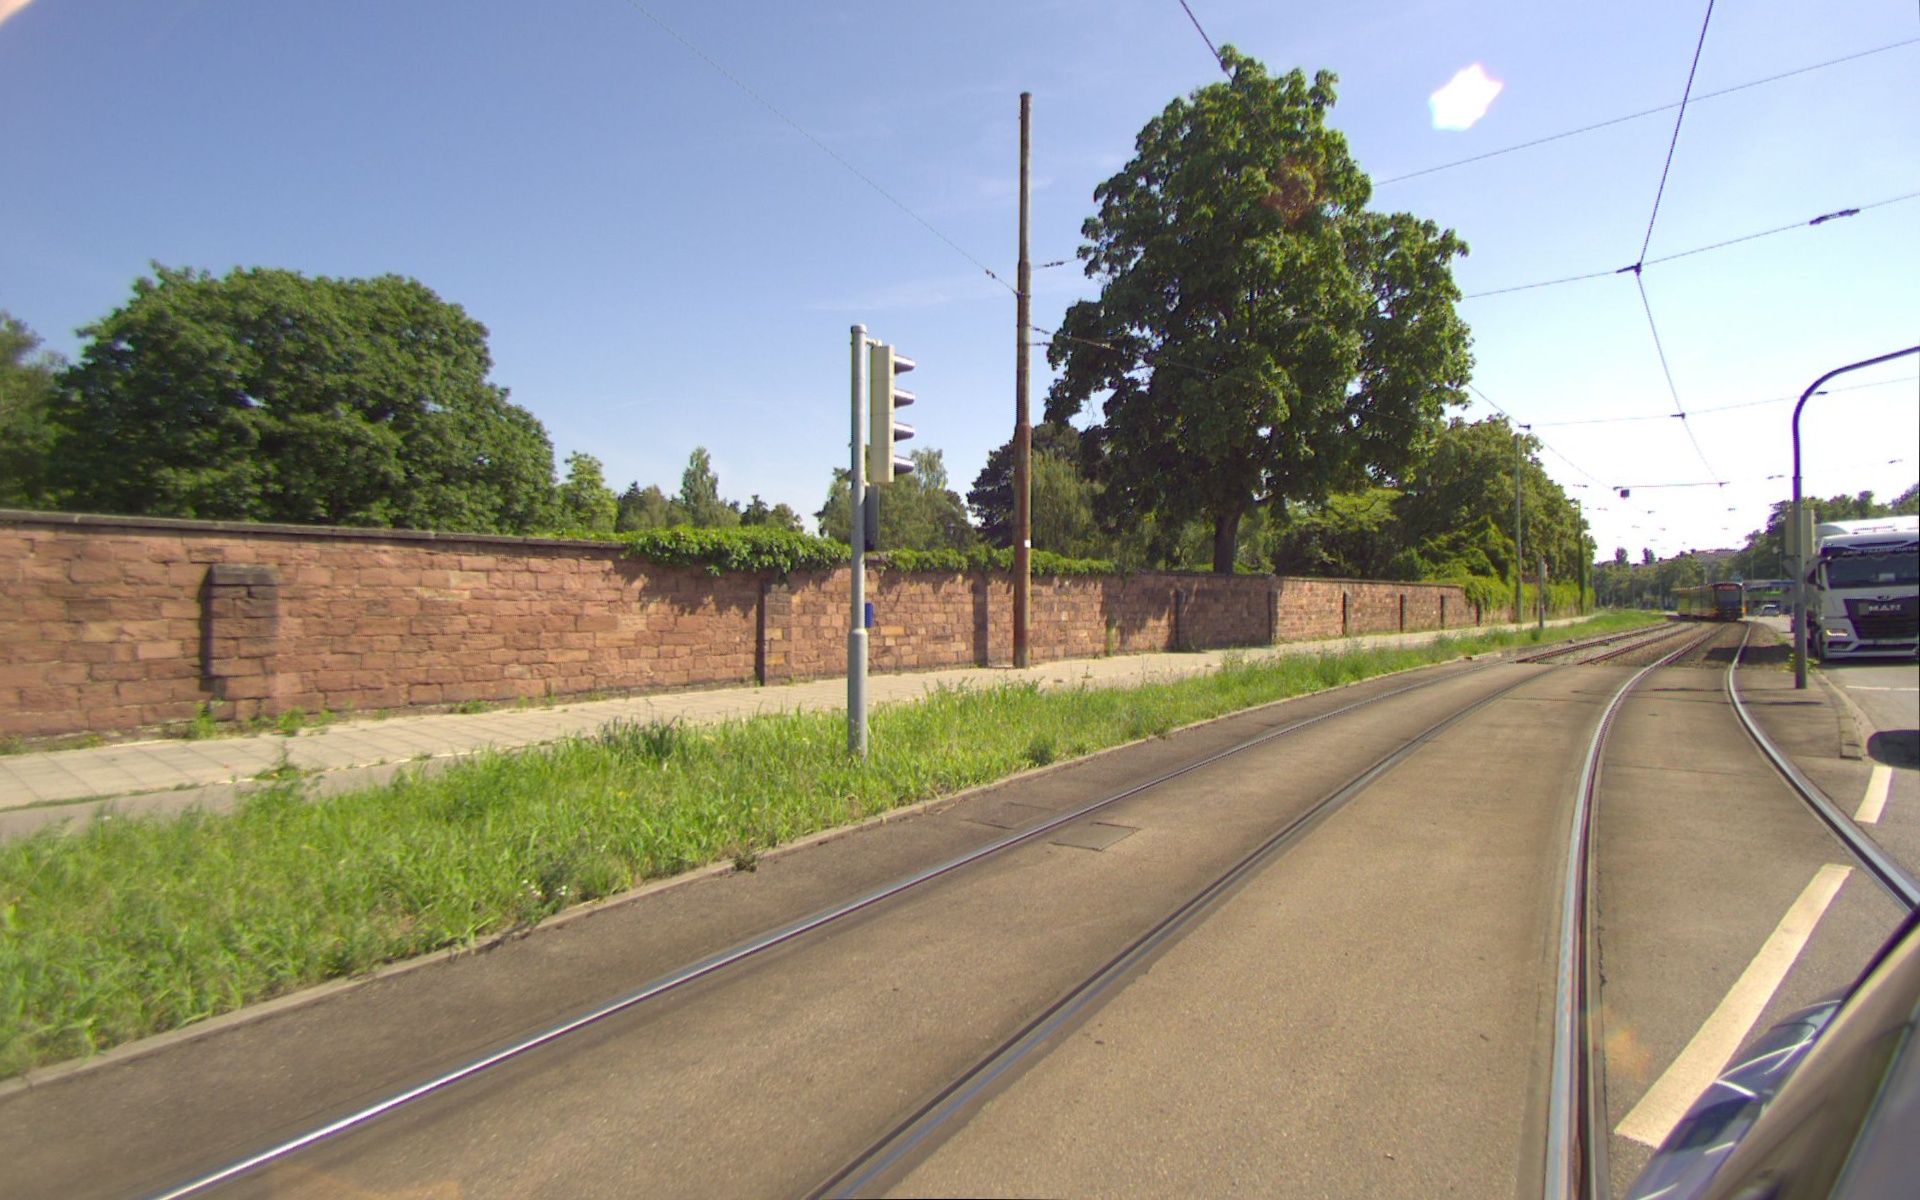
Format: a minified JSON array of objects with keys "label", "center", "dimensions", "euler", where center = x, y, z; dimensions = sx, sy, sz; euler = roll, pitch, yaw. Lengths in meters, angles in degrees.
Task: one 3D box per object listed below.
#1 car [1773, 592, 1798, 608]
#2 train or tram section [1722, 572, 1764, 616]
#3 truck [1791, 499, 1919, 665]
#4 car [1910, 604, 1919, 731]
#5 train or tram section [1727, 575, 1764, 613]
[{"label":"car","center":[110.134,0.021,134.972],"dimensions":[1.984,2.039,3.956],"euler":[1,0,31]},{"label":"train or tram section","center":[72.200,-0.520,93.163],"dimensions":[2.664,3.699,15.090],"euler":[-3,-1,39]},{"label":"truck","center":[27.863,-0.471,30.972],"dimensions":[3.376,4.122,14.086],"euler":[-3,-1,39]},{"label":"car","center":[10.733,0.751,9.910],"dimensions":[1.712,1.466,3.974],"euler":[-2,-1,39]},{"label":"train or tram section","center":[82.639,-0.636,106.347],"dimensions":[2.667,3.699,18.694],"euler":[-3,-1,38]}]
